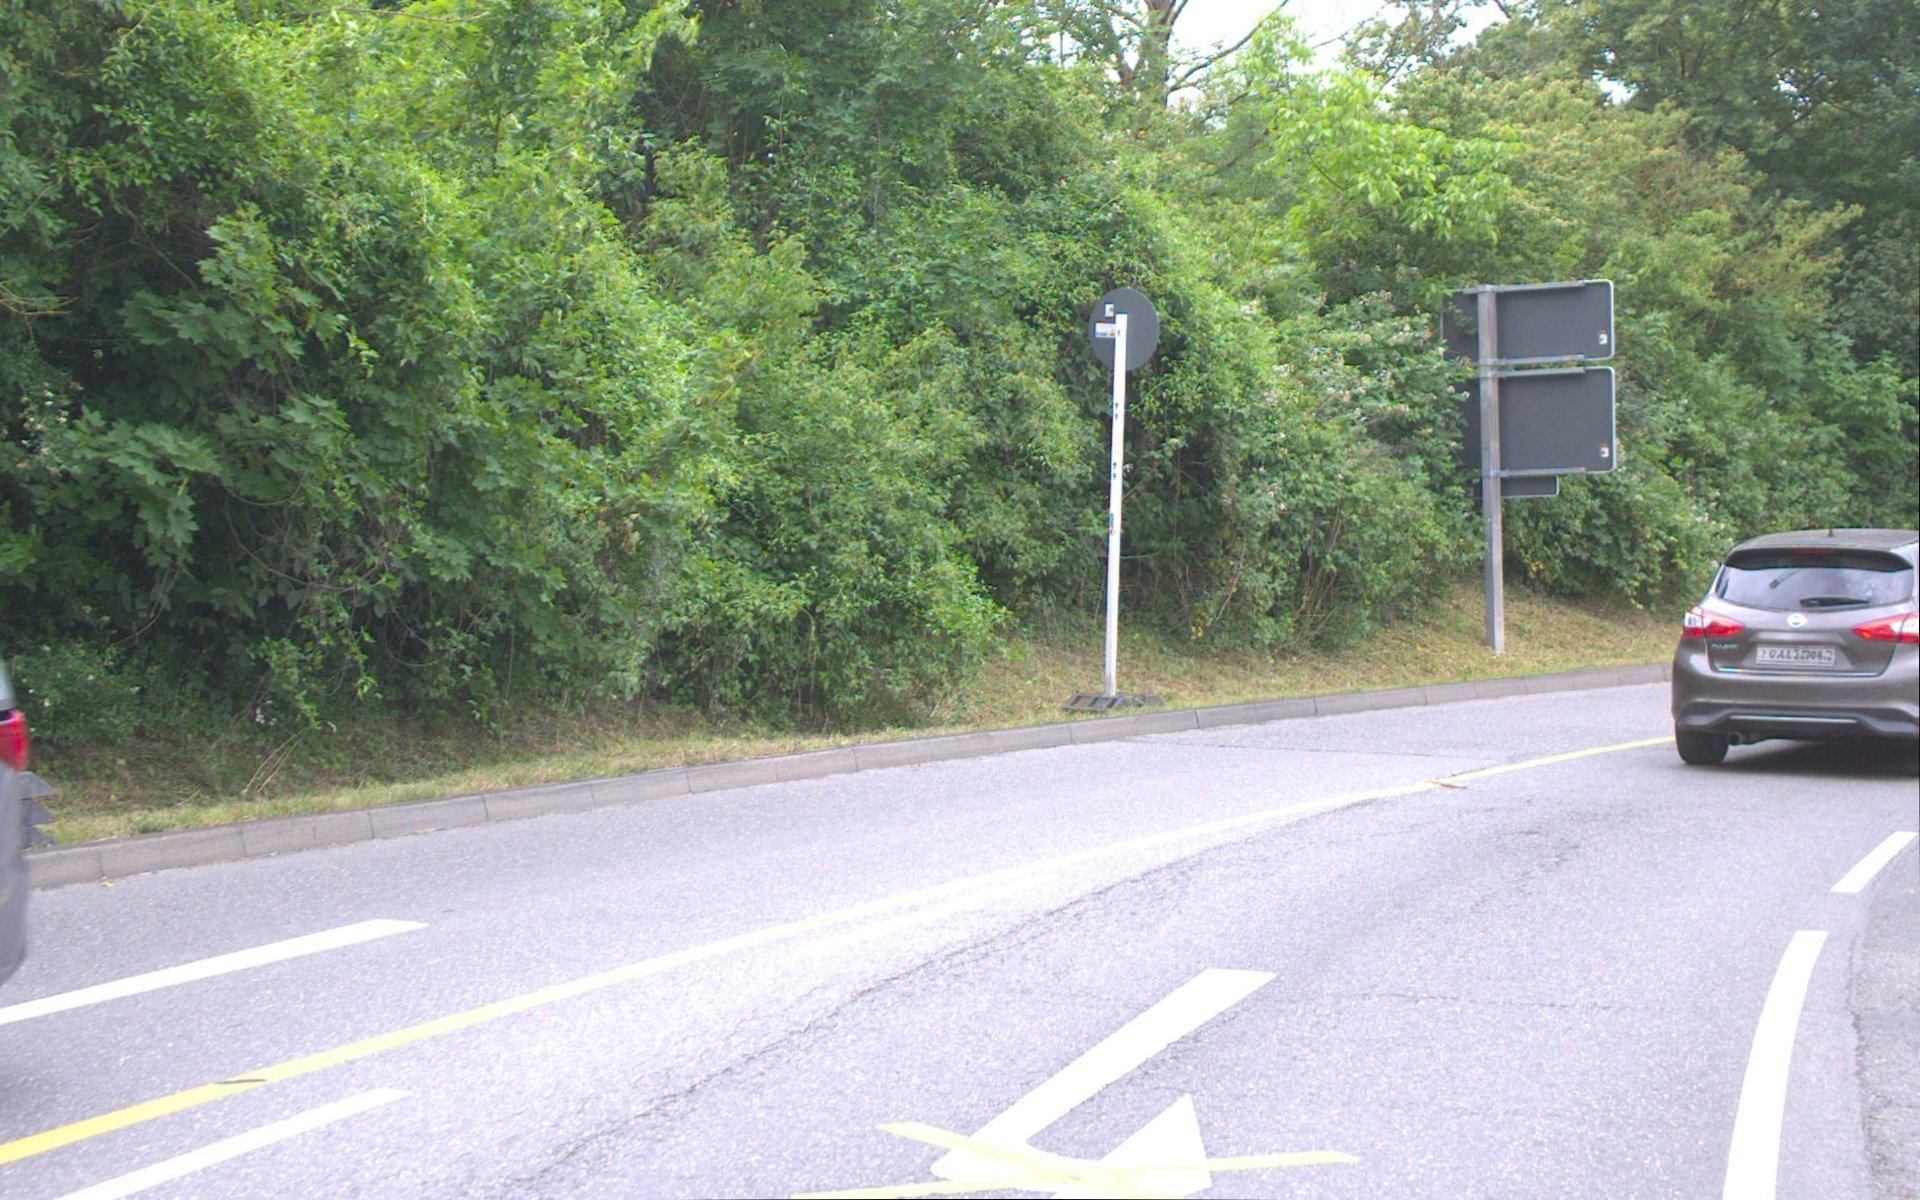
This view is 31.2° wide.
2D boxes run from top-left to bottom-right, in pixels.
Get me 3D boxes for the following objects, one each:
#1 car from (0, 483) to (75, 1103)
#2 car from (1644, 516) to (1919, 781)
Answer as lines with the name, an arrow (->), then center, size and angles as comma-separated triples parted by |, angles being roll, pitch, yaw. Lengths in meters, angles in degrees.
car -> -3.685, 0.497, 7.004 | 1.634, 1.539, 4.347 | 1, 1, 17
car -> 5.936, 0.238, 22.540 | 1.800, 1.546, 3.994 | 1, 2, 27
